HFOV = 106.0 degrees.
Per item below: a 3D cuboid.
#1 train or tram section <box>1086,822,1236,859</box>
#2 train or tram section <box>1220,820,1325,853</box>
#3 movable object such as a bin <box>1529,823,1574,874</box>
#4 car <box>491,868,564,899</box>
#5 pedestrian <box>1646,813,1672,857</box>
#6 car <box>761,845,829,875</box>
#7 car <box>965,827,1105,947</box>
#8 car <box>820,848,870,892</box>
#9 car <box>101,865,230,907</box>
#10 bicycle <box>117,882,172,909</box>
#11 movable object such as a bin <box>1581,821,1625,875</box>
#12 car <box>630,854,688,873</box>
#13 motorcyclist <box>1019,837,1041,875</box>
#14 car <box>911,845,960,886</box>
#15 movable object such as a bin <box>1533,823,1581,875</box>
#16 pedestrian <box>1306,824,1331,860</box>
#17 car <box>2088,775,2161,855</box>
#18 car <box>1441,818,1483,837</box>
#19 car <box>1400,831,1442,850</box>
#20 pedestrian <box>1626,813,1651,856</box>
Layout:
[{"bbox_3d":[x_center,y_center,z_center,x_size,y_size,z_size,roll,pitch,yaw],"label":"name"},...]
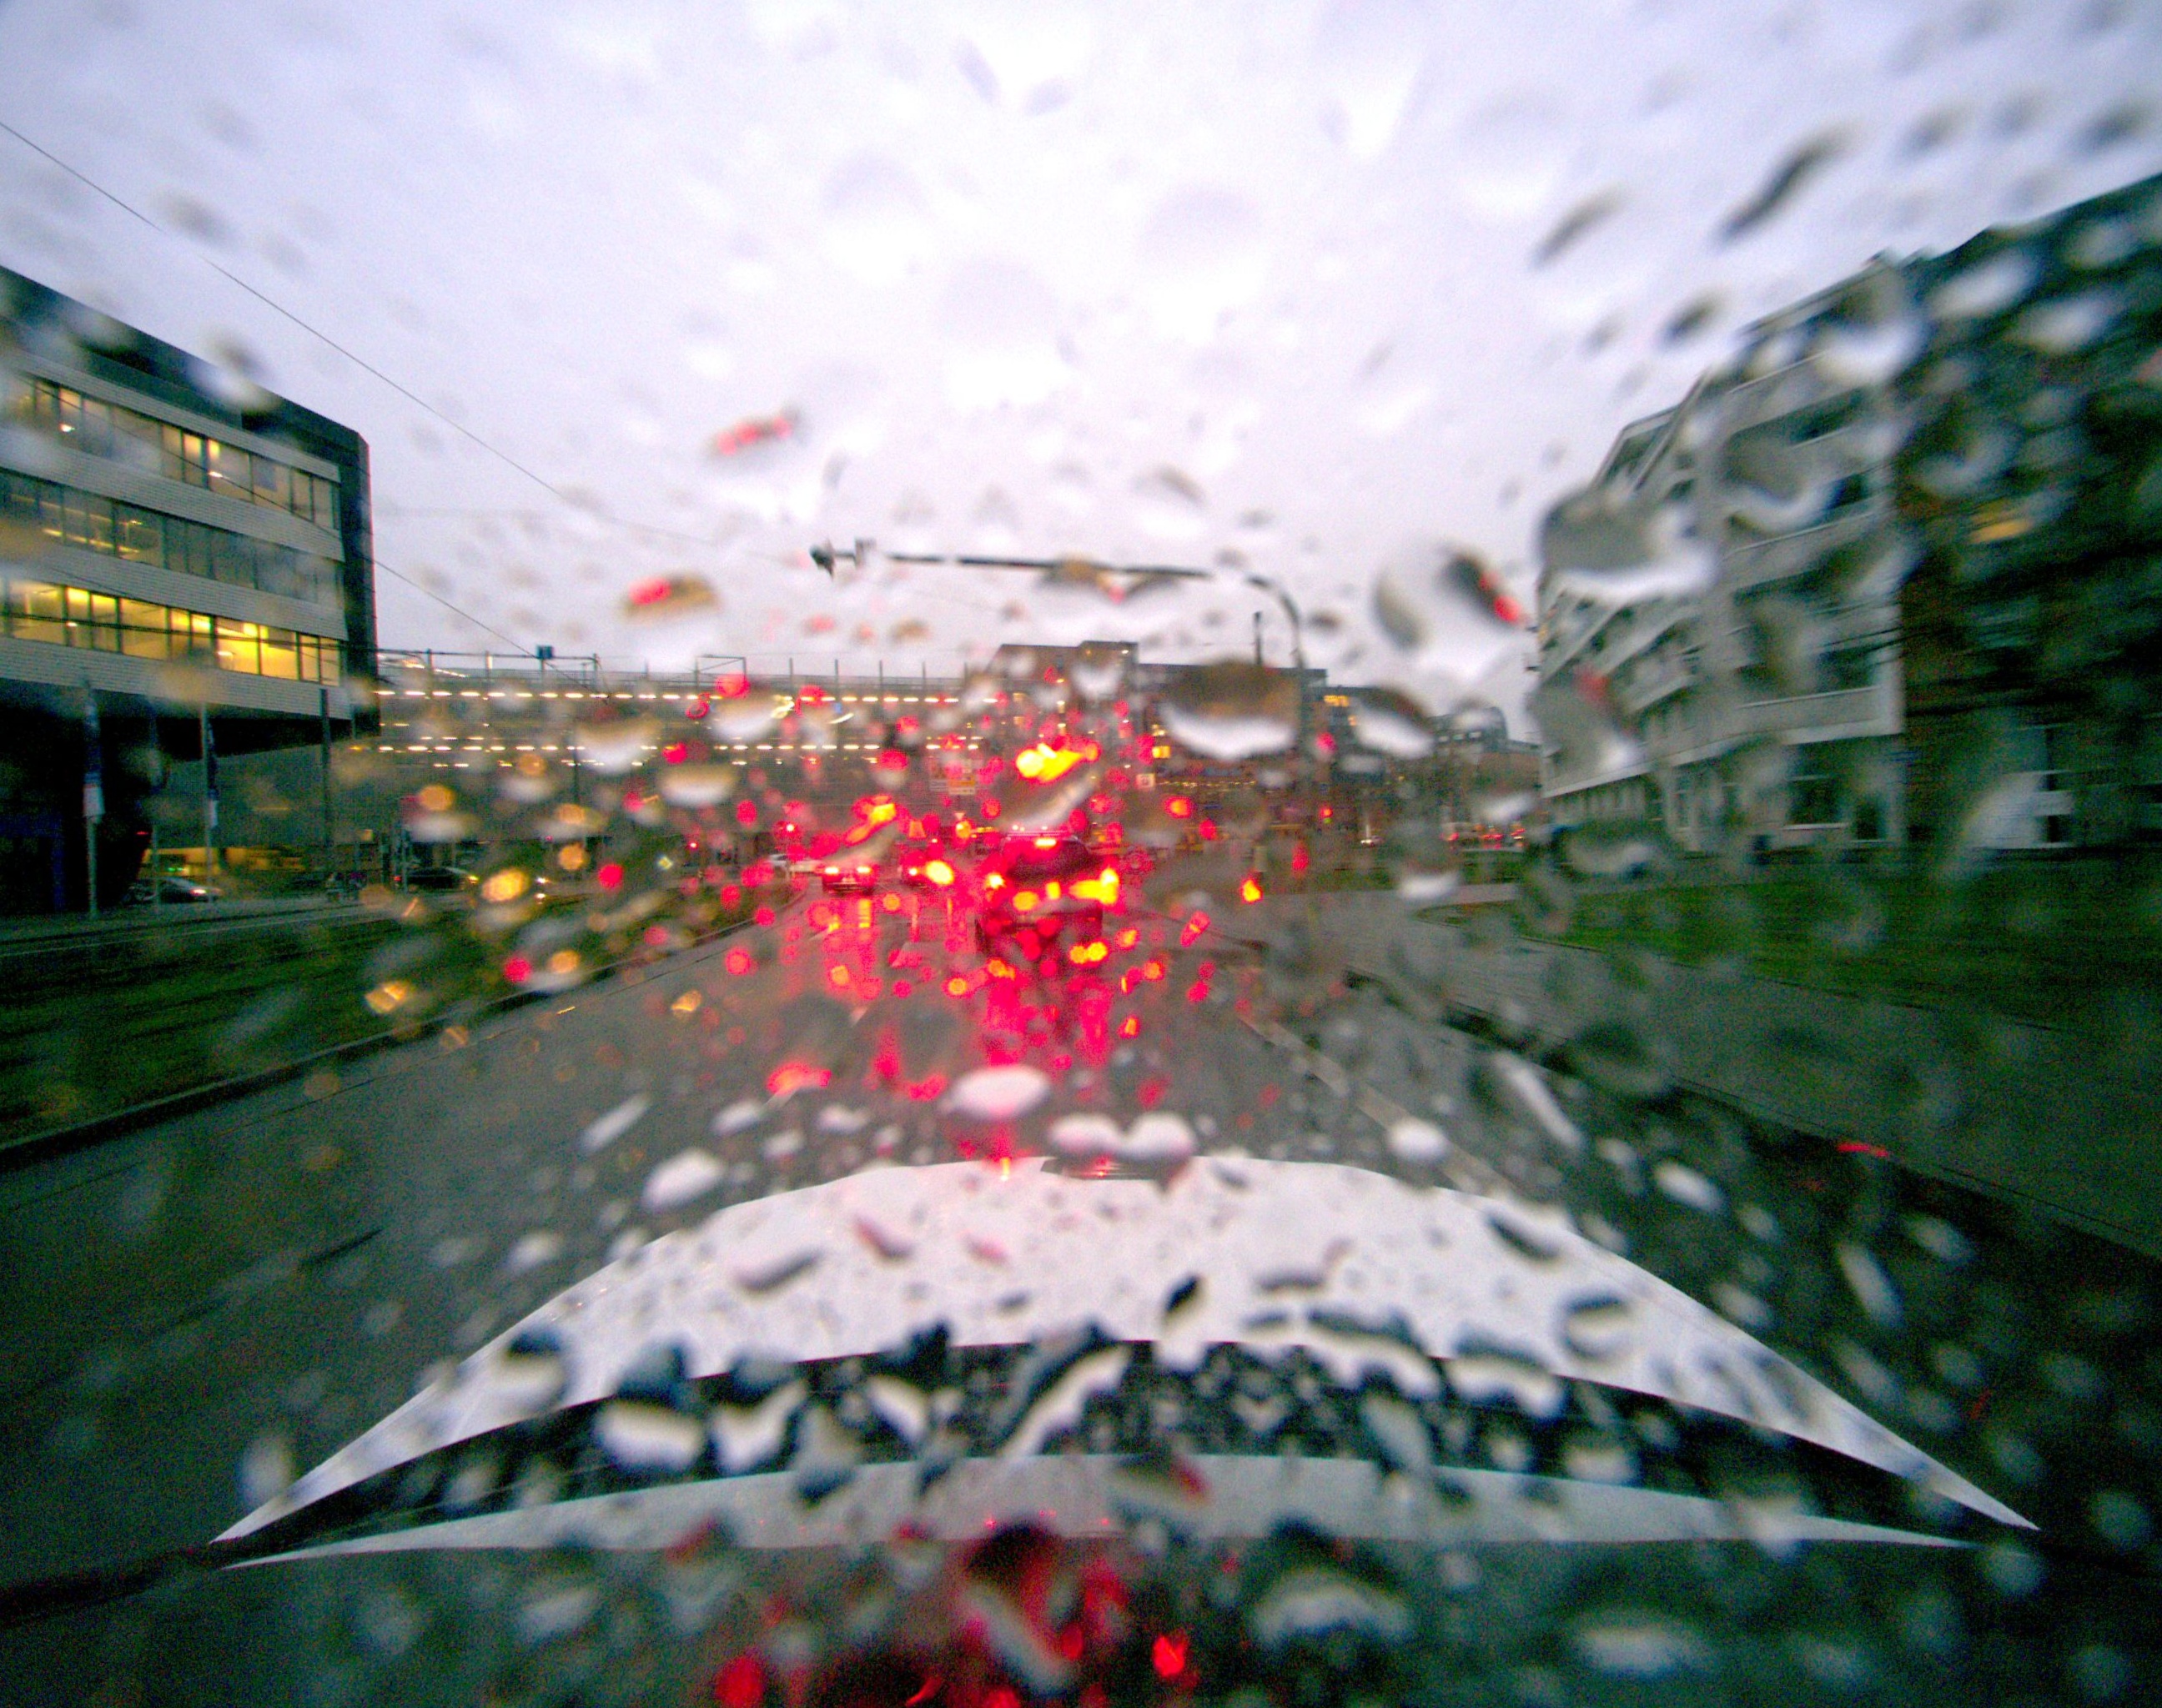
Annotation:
[{"bbox_3d":[8.382,-1.442,82.368,16.706,3.260,2.315,-2,0,-29],"label":"train or tram section"},{"bbox_3d":[21.180,-1.949,89.481,13.036,3.260,2.315,-2,0,-29],"label":"train or tram section"},{"bbox_3d":[14.333,-0.163,24.836,1.018,1.495,1.336,-1,1,24],"label":"movable object such as a bin"},{"bbox_3d":[-29.145,1.506,43.052,1.825,1.435,4.629,0,0,-16],"label":"car"},{"bbox_3d":[22.826,-0.762,32.151,0.670,1.714,0.632,0,0,16],"label":"pedestrian"},{"bbox_3d":[-19.919,0.427,56.745,4.372,2.013,1.986,0,0,-22],"label":"car"},{"bbox_3d":[-0.944,0.482,14.010,1.737,1.738,4.228,0,0,-13],"label":"car"},{"bbox_3d":[-9.430,0.604,32.465,1.757,1.574,3.976,-2,0,-18],"label":"car"},{"bbox_3d":[-48.913,1.658,43.623,4.007,1.874,1.984,-3,2,-25],"label":"car"},{"bbox_3d":[-40.426,1.779,35.180,0.554,1.090,1.608,-2,0,-6],"label":"bicycle"},{"bbox_3d":[14.851,-0.171,23.173,1.024,1.490,1.047,0,0,32],"label":"movable object such as a bin"},{"bbox_3d":[-43.391,0.988,83.866,5.094,1.962,1.879,0,0,-20],"label":"car"},{"bbox_3d":[-2.161,0.088,34.339,0.867,1.534,1.106,-2,0,-4],"label":"motorcyclist"},{"bbox_3d":[-6.460,0.512,36.024,1.640,1.697,3.648,-1,0,-18],"label":"car"},{"bbox_3d":[13.752,-0.150,23.560,1.005,1.416,1.231,-3,0,24],"label":"movable object such as a bin"},{"bbox_3d":[12.770,-0.644,43.787,1.163,1.924,0.901,0,0,9],"label":"pedestrian"},{"bbox_3d":[27.772,-0.935,19.362,2.011,1.919,4.692,0,0,-42],"label":"car"},{"bbox_3d":[44.316,-3.032,94.743,4.964,2.013,1.981,0,0,-31],"label":"car"},{"bbox_3d":[37.310,-1.430,89.366,4.005,2.013,1.984,0,0,-24],"label":"car"},{"bbox_3d":[22.116,-0.769,32.317,0.670,1.714,0.608,0,0,16],"label":"pedestrian"}]
